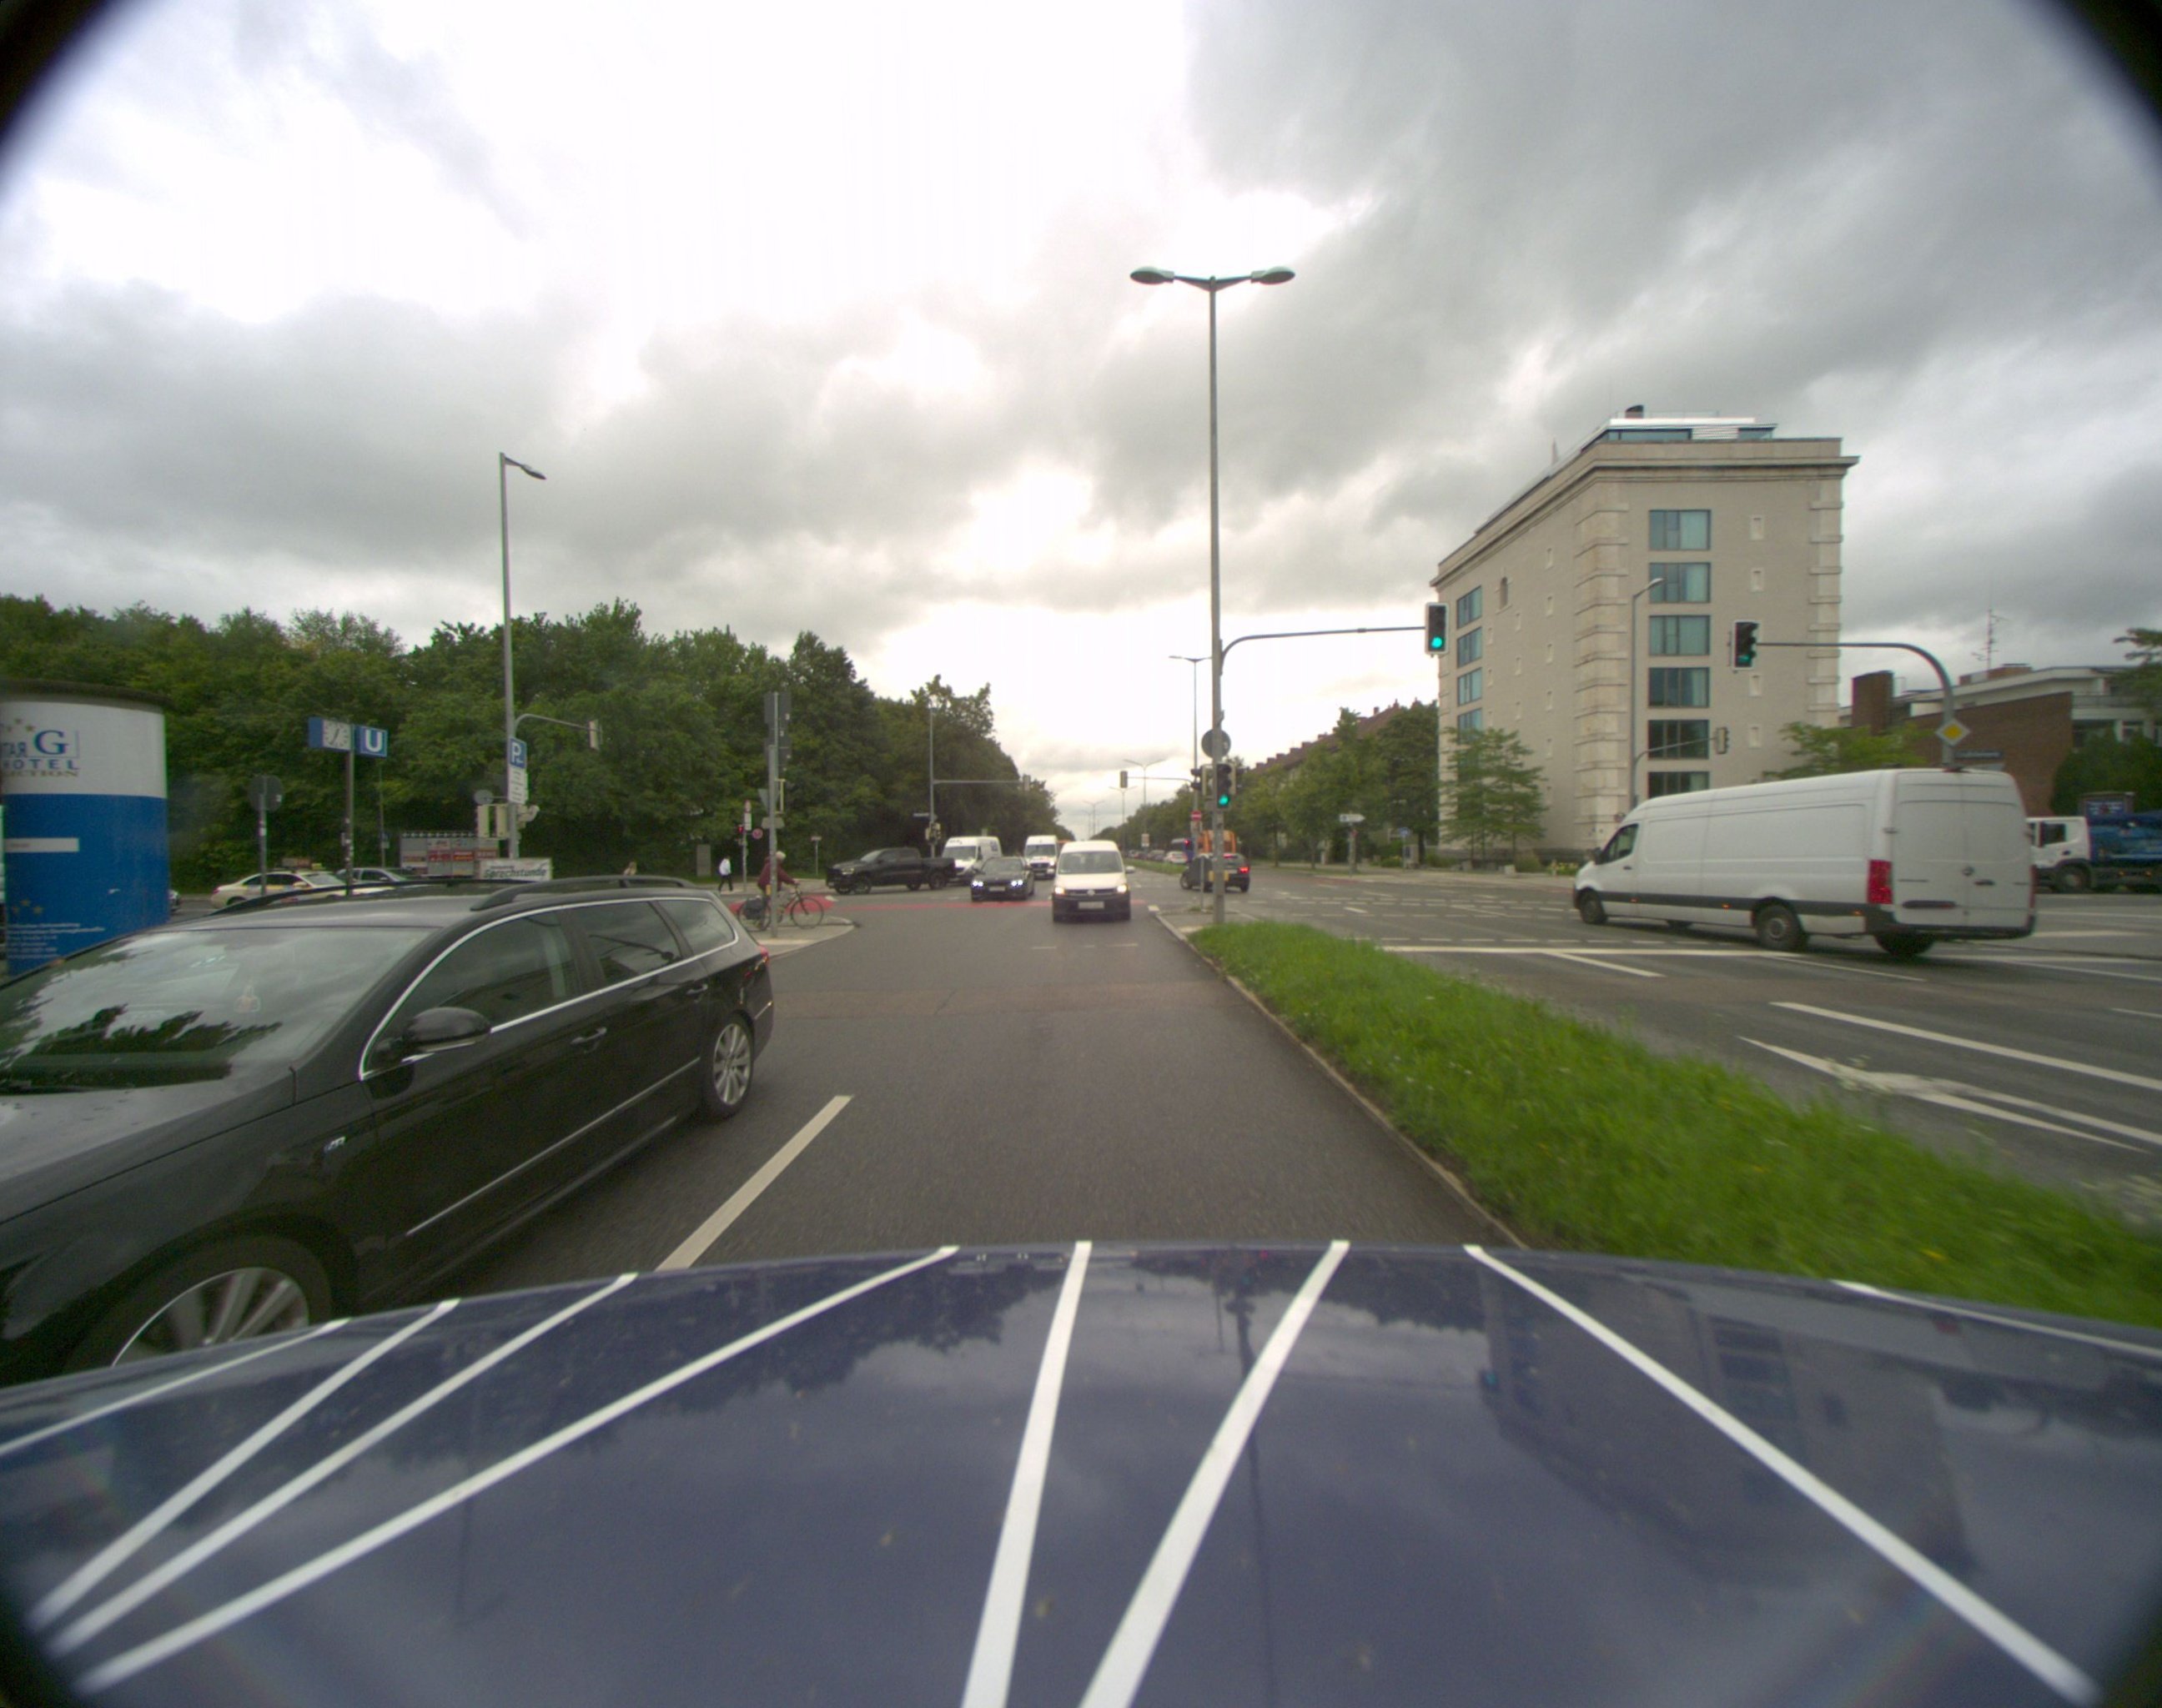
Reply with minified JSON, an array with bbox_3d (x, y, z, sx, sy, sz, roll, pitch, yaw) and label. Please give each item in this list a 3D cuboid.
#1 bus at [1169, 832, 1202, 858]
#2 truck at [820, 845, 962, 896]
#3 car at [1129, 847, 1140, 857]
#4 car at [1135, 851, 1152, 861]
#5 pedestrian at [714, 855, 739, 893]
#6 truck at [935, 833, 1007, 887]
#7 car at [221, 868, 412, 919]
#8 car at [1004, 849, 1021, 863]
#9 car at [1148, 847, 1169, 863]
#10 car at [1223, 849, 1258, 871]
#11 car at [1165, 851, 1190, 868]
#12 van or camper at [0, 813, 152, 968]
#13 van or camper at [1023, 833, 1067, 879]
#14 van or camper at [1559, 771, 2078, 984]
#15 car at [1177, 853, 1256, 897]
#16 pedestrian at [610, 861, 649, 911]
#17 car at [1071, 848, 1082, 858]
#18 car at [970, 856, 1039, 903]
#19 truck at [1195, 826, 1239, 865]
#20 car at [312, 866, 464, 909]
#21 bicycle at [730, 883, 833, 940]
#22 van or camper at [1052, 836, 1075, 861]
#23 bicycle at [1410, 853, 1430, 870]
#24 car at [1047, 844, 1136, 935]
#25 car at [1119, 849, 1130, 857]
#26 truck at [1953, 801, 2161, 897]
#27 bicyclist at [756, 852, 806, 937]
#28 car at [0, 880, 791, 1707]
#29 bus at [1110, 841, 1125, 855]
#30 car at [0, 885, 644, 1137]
[{"bbox_3d":[14.301,-1.201,104.779,2.752,3.324,12.046,0,1,-1],"label":"bus"},{"bbox_3d":[-8.241,0.629,33.528,2.099,2.002,5.824,0,1,43],"label":"truck"},{"bbox_3d":[10.898,-0.392,155.115,1.784,1.801,4.429,2,1,-1],"label":"car"},{"bbox_3d":[8.888,0.264,108.405,1.931,1.454,4.897,1,1,0],"label":"car"},{"bbox_3d":[-16.237,0.906,34.847,0.762,1.693,0.938,-1,1,-9],"label":"pedestrian"},{"bbox_3d":[-5.777,0.237,41.052,1.997,2.589,7.229,-2,1,7],"label":"truck"},{"bbox_3d":[-25.309,1.271,25.281,4.312,1.489,1.887,-1,1,-2],"label":"car"},{"bbox_3d":[-8.372,0.245,93.653,1.752,1.640,4.254,-1,1,-1],"label":"car"},{"bbox_3d":[8.542,0.085,84.202,1.866,1.533,4.749,3,1,1],"label":"car"},{"bbox_3d":[11.249,0.389,53.825,1.727,1.408,4.215,1,1,2],"label":"car"},{"bbox_3d":[8.959,0.516,70.542,1.732,1.478,4.742,-1,1,0],"label":"car"},{"bbox_3d":[-17.396,0.568,9.951,2.144,2.283,6.207,-1,1,18],"label":"van or camper"},{"bbox_3d":[-2.097,0.071,46.134,2.183,2.546,7.074,-1,1,1],"label":"van or camper"},{"bbox_3d":[11.436,0.267,13.023,2.183,2.631,6.950,1,1,1],"label":"van or camper"},{"bbox_3d":[4.933,0.718,28.141,1.645,1.478,3.777,-1,1,-10],"label":"car"},{"bbox_3d":[-14.209,0.983,23.938,0.691,1.530,0.738,0,1,20],"label":"pedestrian"},{"bbox_3d":[-0.882,-0.248,153.307,1.998,2.002,4.000,-1,1,1],"label":"car"},{"bbox_3d":[-2.555,0.825,26.414,1.819,1.421,4.671,-1,1,1],"label":"car"},{"bbox_3d":[12.228,-0.772,68.884,2.787,3.337,7.265,-1,1,0],"label":"truck"},{"bbox_3d":[-25.940,1.228,28.547,3.949,1.445,1.626,-1,1,-7],"label":"car"},{"bbox_3d":[-6.463,1.210,16.438,1.951,1.075,0.746,-1,1,-35],"label":"bicycle"},{"bbox_3d":[-2.350,-0.768,105.283,2.780,3.219,7.074,-1,1,1],"label":"van or camper"},{"bbox_3d":[23.345,0.497,52.331,0.546,1.174,1.826,-1,1,0],"label":"bicycle"},{"bbox_3d":[0.264,0.688,17.582,1.751,1.809,4.671,-1,1,1],"label":"car"},{"bbox_3d":[8.440,-0.225,147.447,1.702,1.561,4.290,-1,1,-1],"label":"car"},{"bbox_3d":[39.063,-0.194,28.902,7.812,3.468,2.774,-1,1,9],"label":"truck"},{"bbox_3d":[-6.484,0.848,16.424,0.829,1.754,0.744,-2,1,-34],"label":"bicyclist"},{"bbox_3d":[-2.934,0.963,3.044,1.752,1.466,4.670,-2,1,-1],"label":"car"},{"bbox_3d":[8.643,-1.440,180.694,2.753,3.324,12.270,0,1,-2],"label":"bus"},{"bbox_3d":[-6.358,1.114,7.248,1.714,1.352,4.620,-2,1,-1],"label":"car"}]
